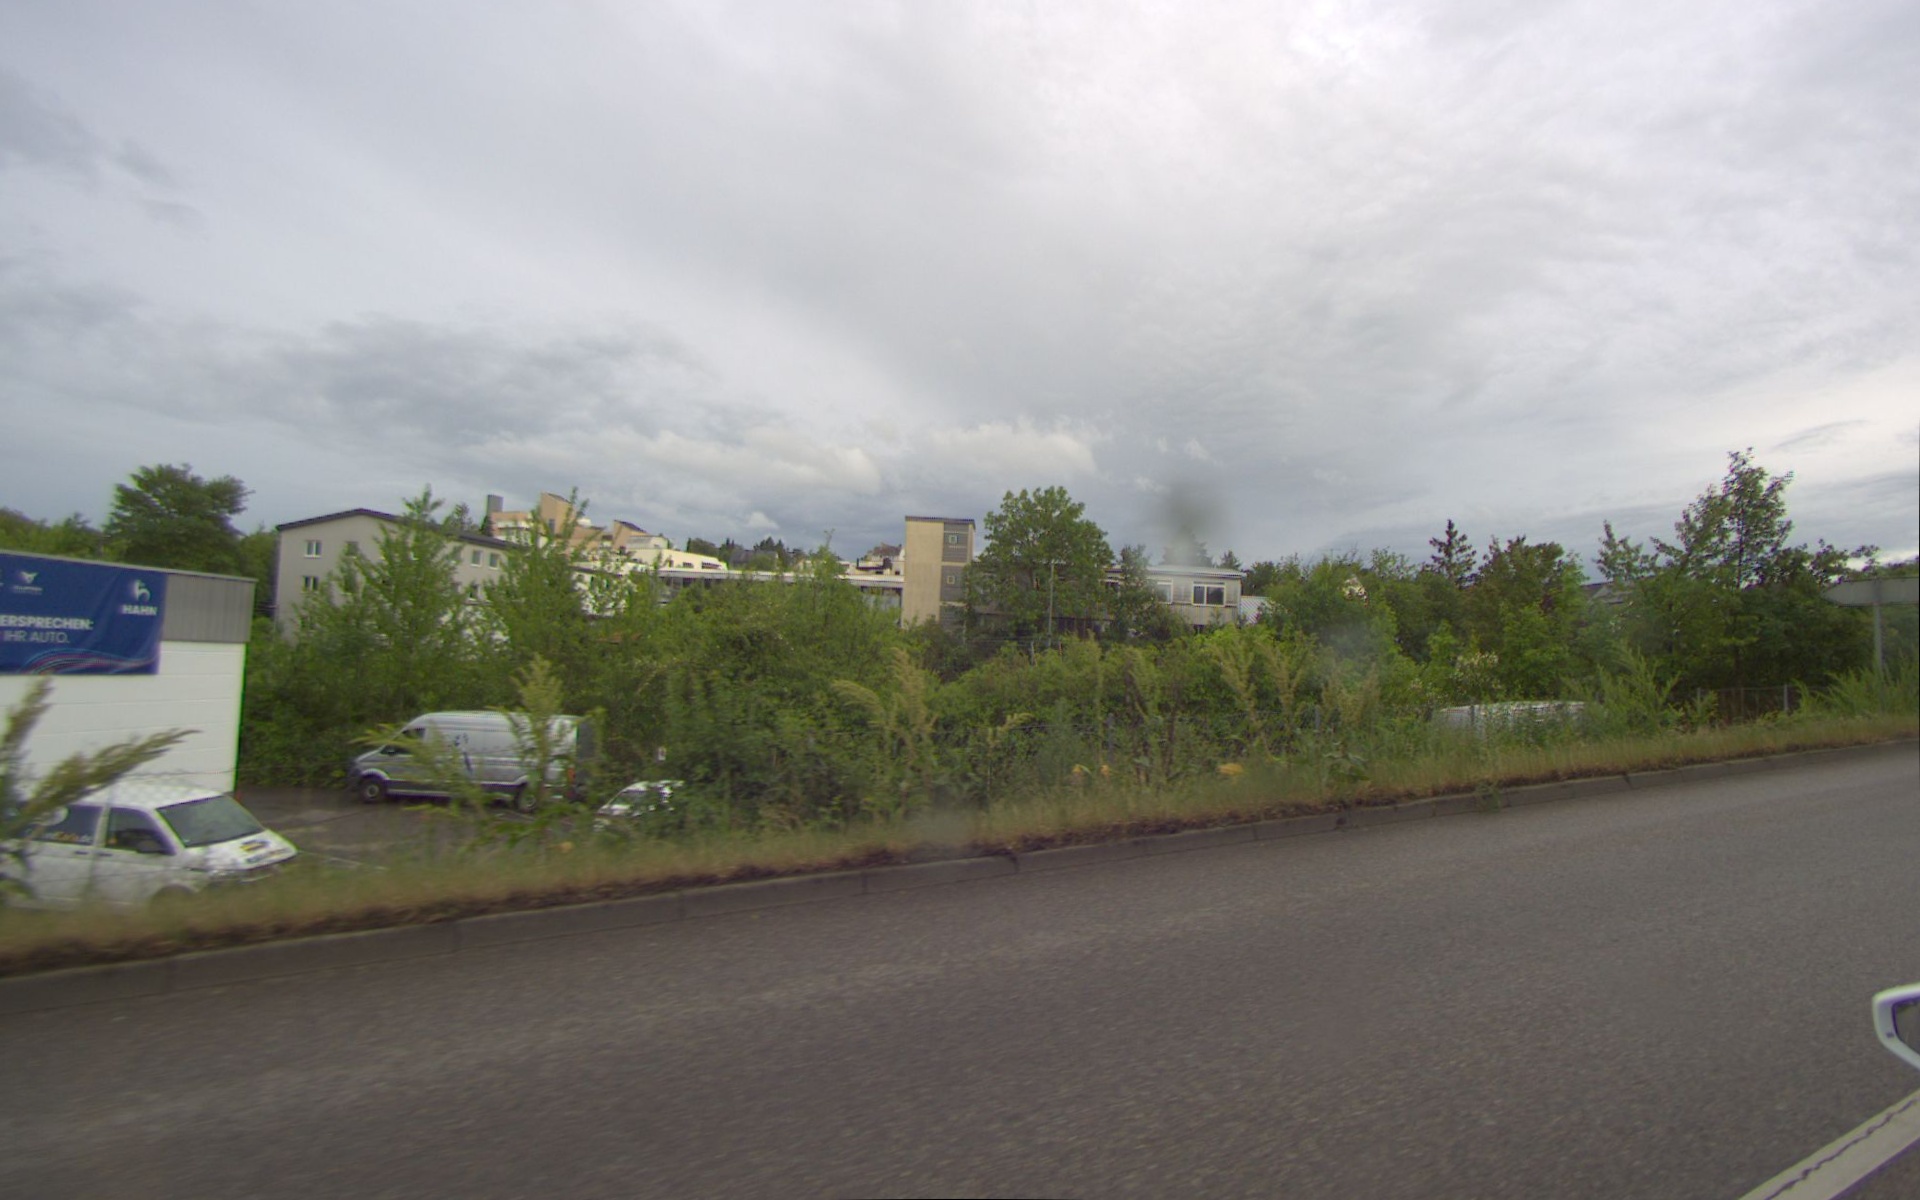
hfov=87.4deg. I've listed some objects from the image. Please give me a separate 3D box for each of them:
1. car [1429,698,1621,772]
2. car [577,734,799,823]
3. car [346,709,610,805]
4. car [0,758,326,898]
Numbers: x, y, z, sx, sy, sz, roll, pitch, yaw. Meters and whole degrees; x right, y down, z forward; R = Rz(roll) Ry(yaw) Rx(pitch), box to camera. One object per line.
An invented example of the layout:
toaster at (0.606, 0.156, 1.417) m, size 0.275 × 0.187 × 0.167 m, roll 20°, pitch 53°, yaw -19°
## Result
car at (13.397, 3.152, 23.842) m, size 4.001 × 1.543 × 1.652 m, roll 1°, pitch -3°, yaw -17°
car at (-6.152, 4.055, 23.056) m, size 4.549 × 1.713 × 1.869 m, roll -2°, pitch -6°, yaw 1°
car at (-13.455, 4.373, 28.324) m, size 6.464 × 2.492 × 1.987 m, roll -1°, pitch -5°, yaw 2°
car at (-12.940, 3.560, 15.923) m, size 4.549 × 1.826 × 1.869 m, roll -2°, pitch -6°, yaw 1°
